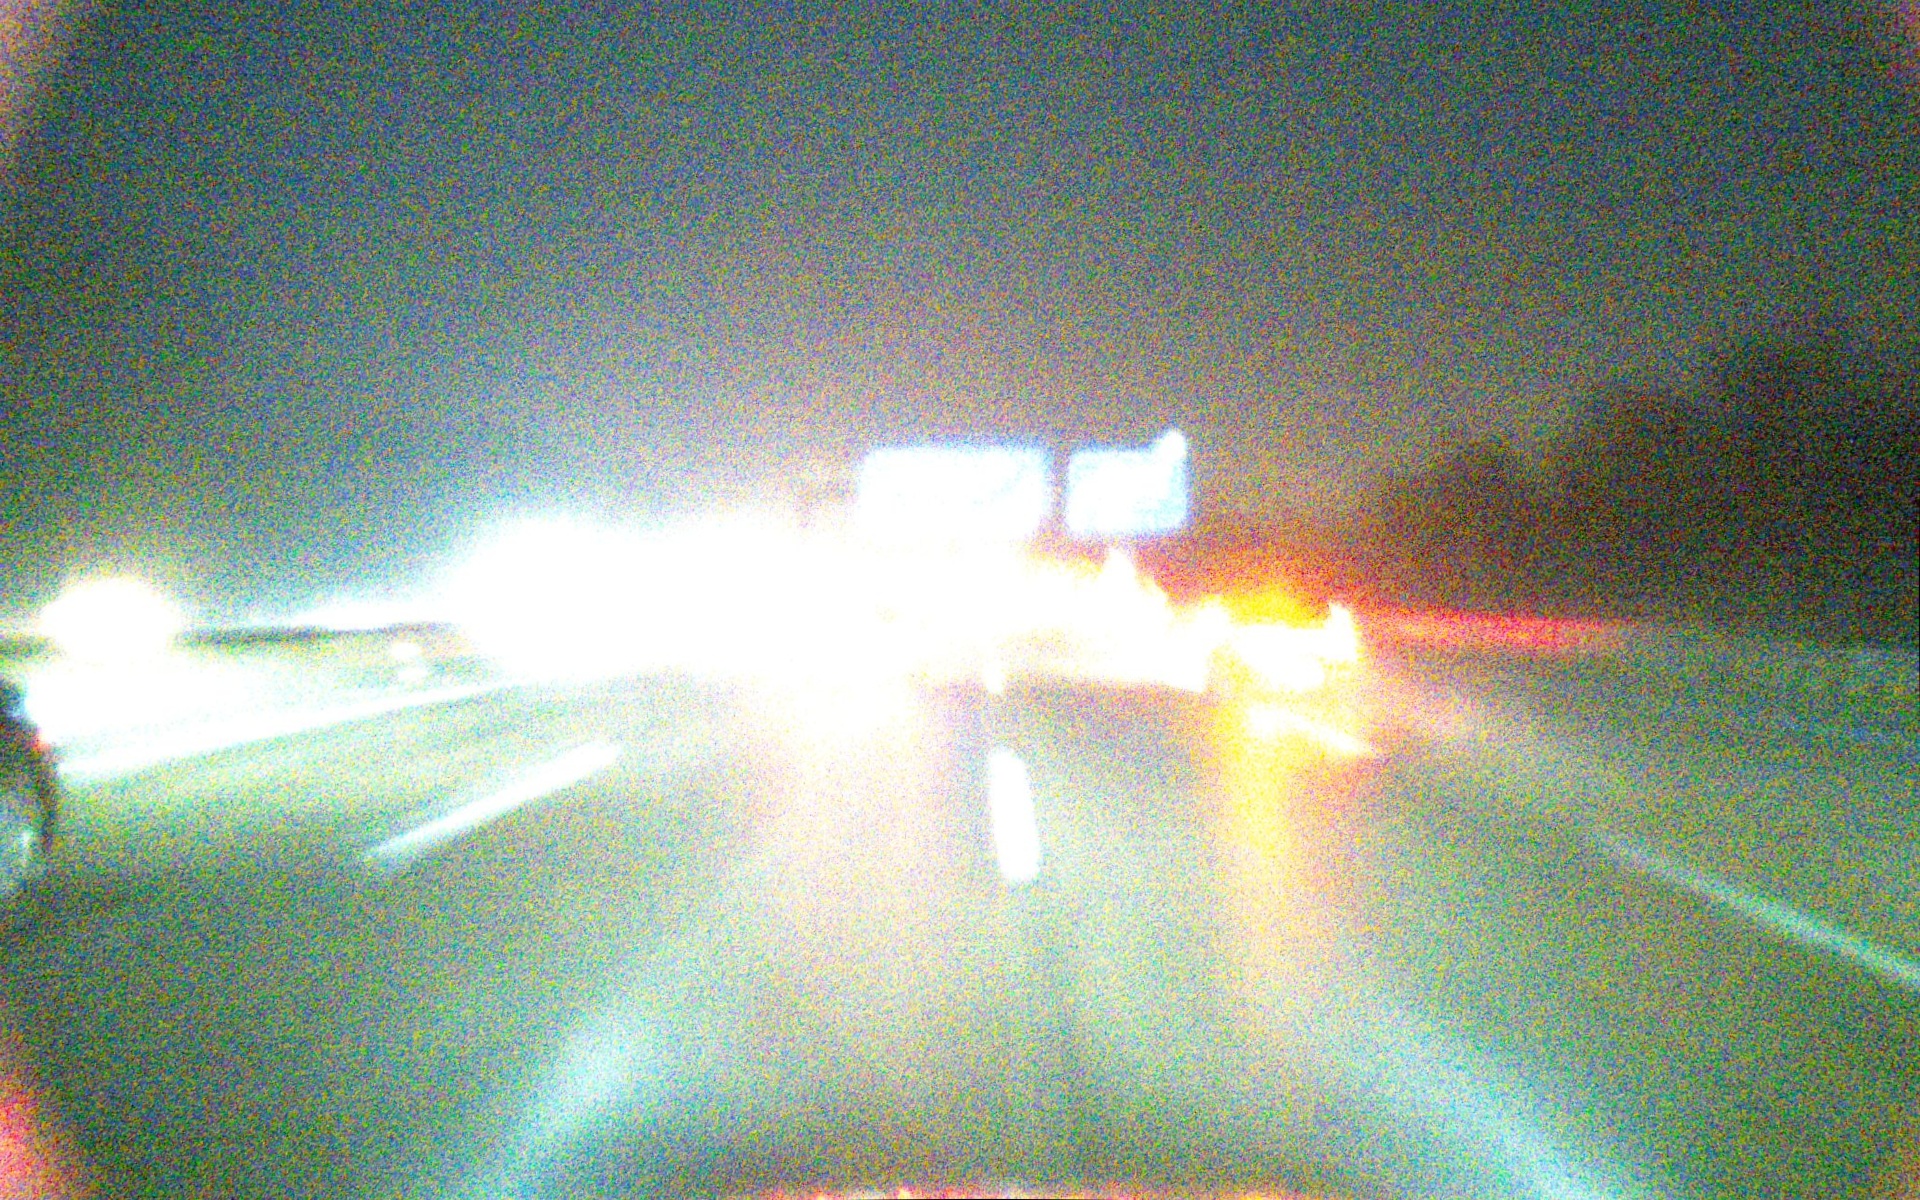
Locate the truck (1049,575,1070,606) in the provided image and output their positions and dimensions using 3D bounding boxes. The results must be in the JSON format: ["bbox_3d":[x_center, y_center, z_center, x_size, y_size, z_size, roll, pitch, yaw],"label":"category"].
[{"bbox_3d":[10.363,-0.960,173.164,1.952,3.096,6.467,-2,-1,2],"label":"truck"}]

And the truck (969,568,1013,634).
[{"bbox_3d":[1.602,0.067,82.748,1.952,3.096,6.467,-2,-1,2],"label":"truck"}]

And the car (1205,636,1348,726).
[{"bbox_3d":[4.982,1.253,26.404,1.549,1.268,3.067,1,0,-3],"label":"car"}]

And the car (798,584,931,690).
[{"bbox_3d":[-1.427,0.520,26.028,1.764,1.513,4.001,1,0,1],"label":"car"}]

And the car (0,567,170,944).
[{"bbox_3d":[-4.933,0.655,5.946,1.820,1.567,4.752,1,1,1],"label":"car"}]

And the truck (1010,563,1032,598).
[{"bbox_3d":[5.751,-1.782,155.069,1.952,3.096,6.467,-2,-1,2],"label":"truck"}]

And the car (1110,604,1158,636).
[{"bbox_3d":[7.372,0.839,70.164,1.549,1.268,3.067,1,0,-3],"label":"car"}]

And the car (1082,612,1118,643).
[{"bbox_3d":[7.829,1.512,93.060,1.824,1.646,4.001,1,0,2],"label":"car"}]

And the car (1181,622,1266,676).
[{"bbox_3d":[6.676,1.233,42.153,1.549,1.268,3.067,1,0,-3],"label":"car"}]

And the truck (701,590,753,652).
[{"bbox_3d":[-19.233,1.723,136.759,2.862,4.934,7.578,-2,-1,1],"label":"truck"}]

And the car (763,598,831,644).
[{"bbox_3d":[-4.767,0.624,48.842,1.628,1.258,3.760,-2,-1,-1],"label":"car"}]

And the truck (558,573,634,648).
[{"bbox_3d":[-19.955,0.596,90.971,2.641,3.825,6.453,-2,-1,0],"label":"truck"}]

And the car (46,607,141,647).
[{"bbox_3d":[-30.248,0.943,57.824,1.465,1.307,3.232,-2,-1,2],"label":"car"}]
